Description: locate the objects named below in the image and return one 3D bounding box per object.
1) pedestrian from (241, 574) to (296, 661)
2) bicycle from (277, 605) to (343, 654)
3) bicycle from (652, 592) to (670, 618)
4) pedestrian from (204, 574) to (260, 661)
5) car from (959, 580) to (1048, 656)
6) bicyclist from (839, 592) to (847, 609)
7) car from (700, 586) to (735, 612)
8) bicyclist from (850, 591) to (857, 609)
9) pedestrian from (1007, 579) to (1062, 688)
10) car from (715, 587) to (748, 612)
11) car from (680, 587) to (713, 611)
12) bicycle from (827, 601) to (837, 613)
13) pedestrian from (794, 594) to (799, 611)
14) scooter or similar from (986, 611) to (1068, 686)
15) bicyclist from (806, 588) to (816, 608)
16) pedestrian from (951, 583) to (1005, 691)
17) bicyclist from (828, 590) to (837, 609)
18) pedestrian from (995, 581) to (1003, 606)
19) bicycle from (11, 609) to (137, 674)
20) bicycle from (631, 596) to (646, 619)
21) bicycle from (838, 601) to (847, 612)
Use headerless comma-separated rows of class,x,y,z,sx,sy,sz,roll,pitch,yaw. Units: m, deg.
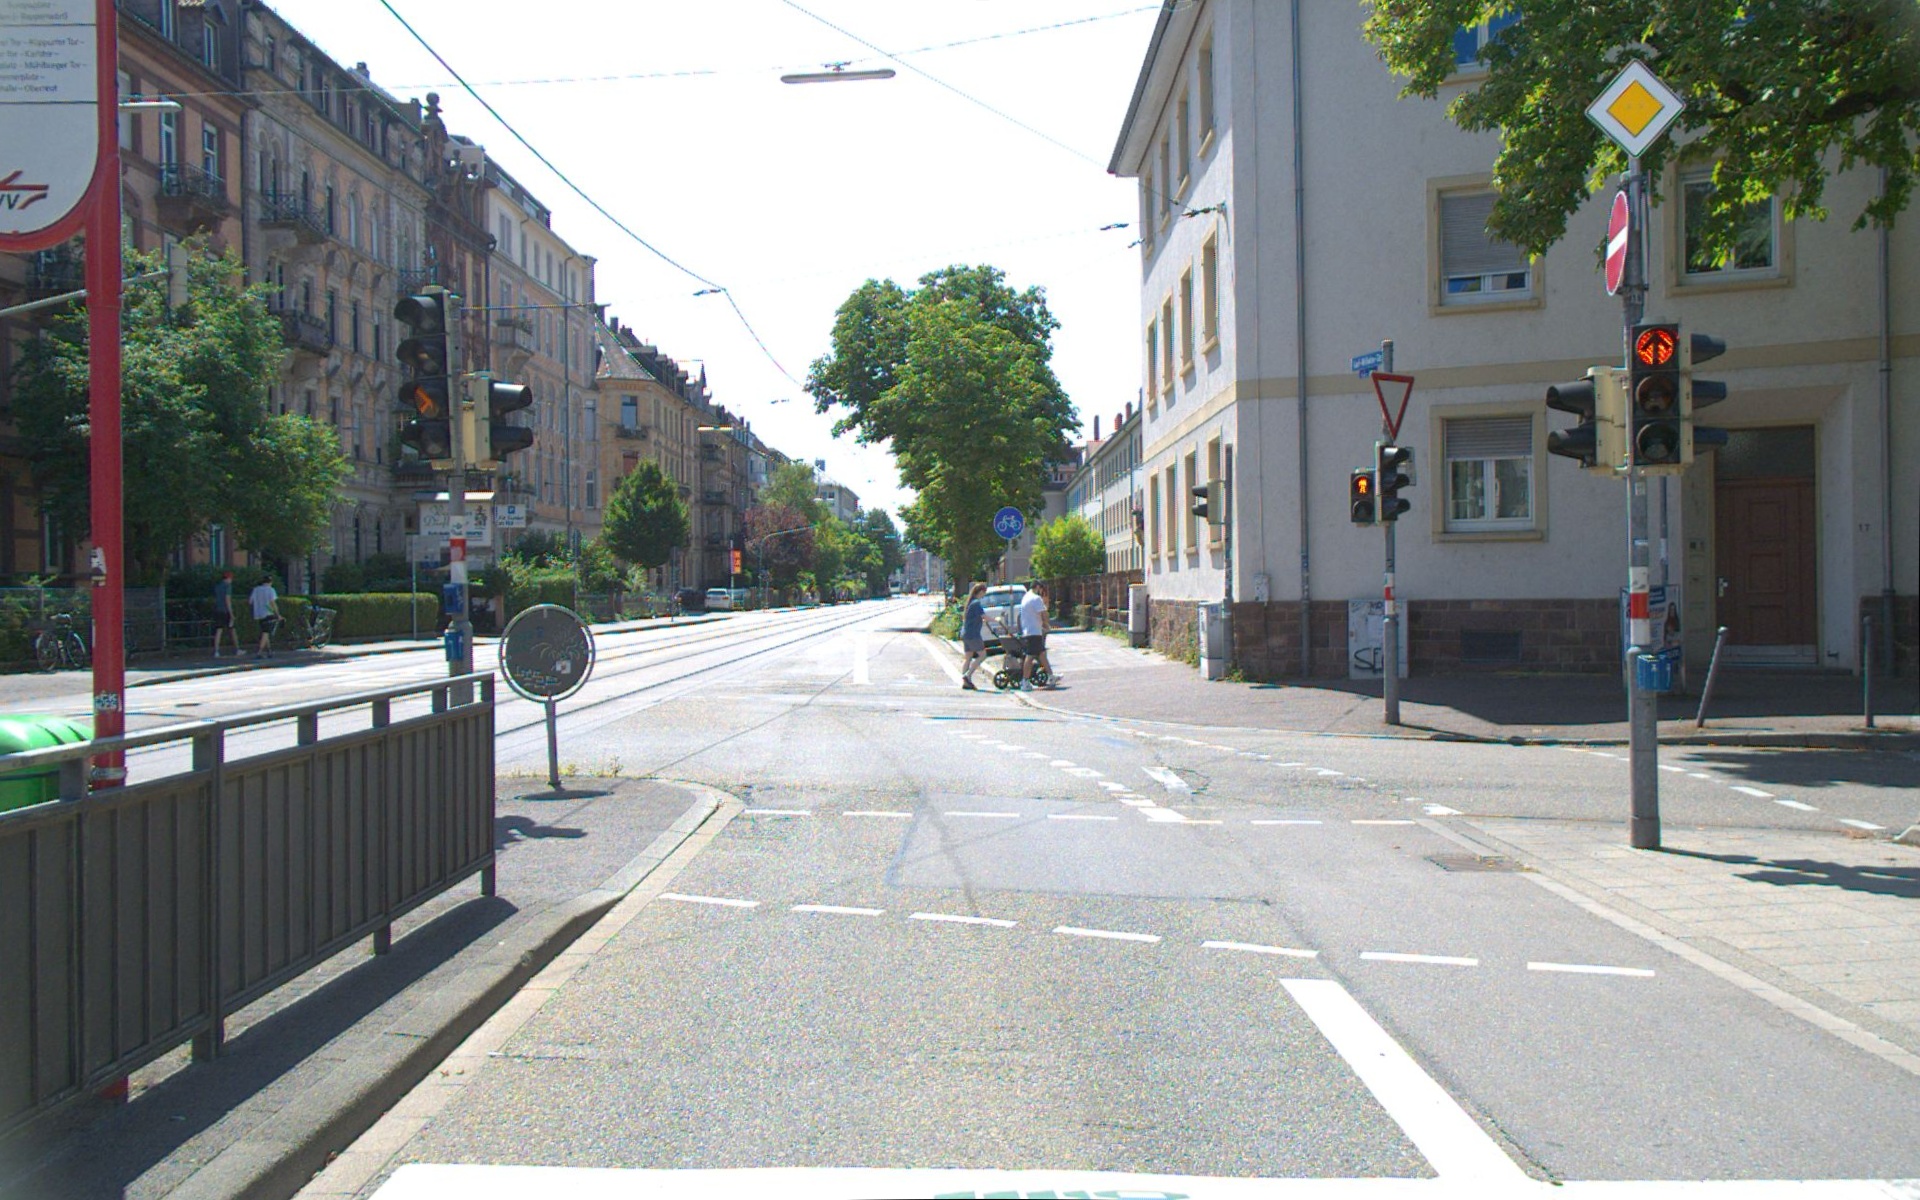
pedestrian,-15.018,0.372,35.931,0.799,1.854,0.874,1,1,2
bicycle,-15.889,0.698,40.513,0.920,1.156,2.767,1,0,-9
bicycle,-15.278,0.249,84.434,0.664,1.301,1.917,-1,0,-4
pedestrian,-15.778,0.365,35.852,0.799,1.854,0.874,1,1,2
car,0.926,0.396,37.335,1.778,1.542,3.999,-3,0,-1
bicyclist,-12.589,0.038,177.873,0.712,1.850,1.079,1,0,1
car,-16.877,-0.055,115.312,1.880,1.745,3.999,1,0,-1
bicyclist,-11.442,0.023,177.675,0.712,1.850,1.079,1,0,1
pedestrian,1.154,0.516,25.666,0.666,1.674,0.554,1,-1,-24
car,-17.046,-0.023,123.573,1.880,1.745,3.999,1,0,-1
car,-19.677,-0.068,123.607,1.880,1.745,3.999,1,0,-1
bicycle,-12.155,0.638,157.386,0.712,1.142,2.085,1,0,1
pedestrian,-14.486,0.260,146.283,0.398,1.486,0.436,-1,0,-1
scooter or similar,1.066,0.777,26.452,1.187,1.175,0.554,1,-1,-27
bicyclist,-12.326,-0.176,137.019,0.712,1.657,1.079,1,0,1
pedestrian,0.276,0.574,26.067,0.666,1.674,0.554,1,-1,-24
bicyclist,-12.147,-0.026,157.373,0.712,1.799,1.079,1,0,1
pedestrian,2.551,-0.412,107.867,0.511,1.590,0.573,-1,0,-1
bicycle,-16.714,0.758,31.304,0.918,1.156,2.773,1,0,-2
bicycle,-15.501,0.334,79.787,0.665,1.083,1.913,-1,0,-12
bicycle,-12.606,0.735,177.855,0.712,1.142,2.085,1,0,1
